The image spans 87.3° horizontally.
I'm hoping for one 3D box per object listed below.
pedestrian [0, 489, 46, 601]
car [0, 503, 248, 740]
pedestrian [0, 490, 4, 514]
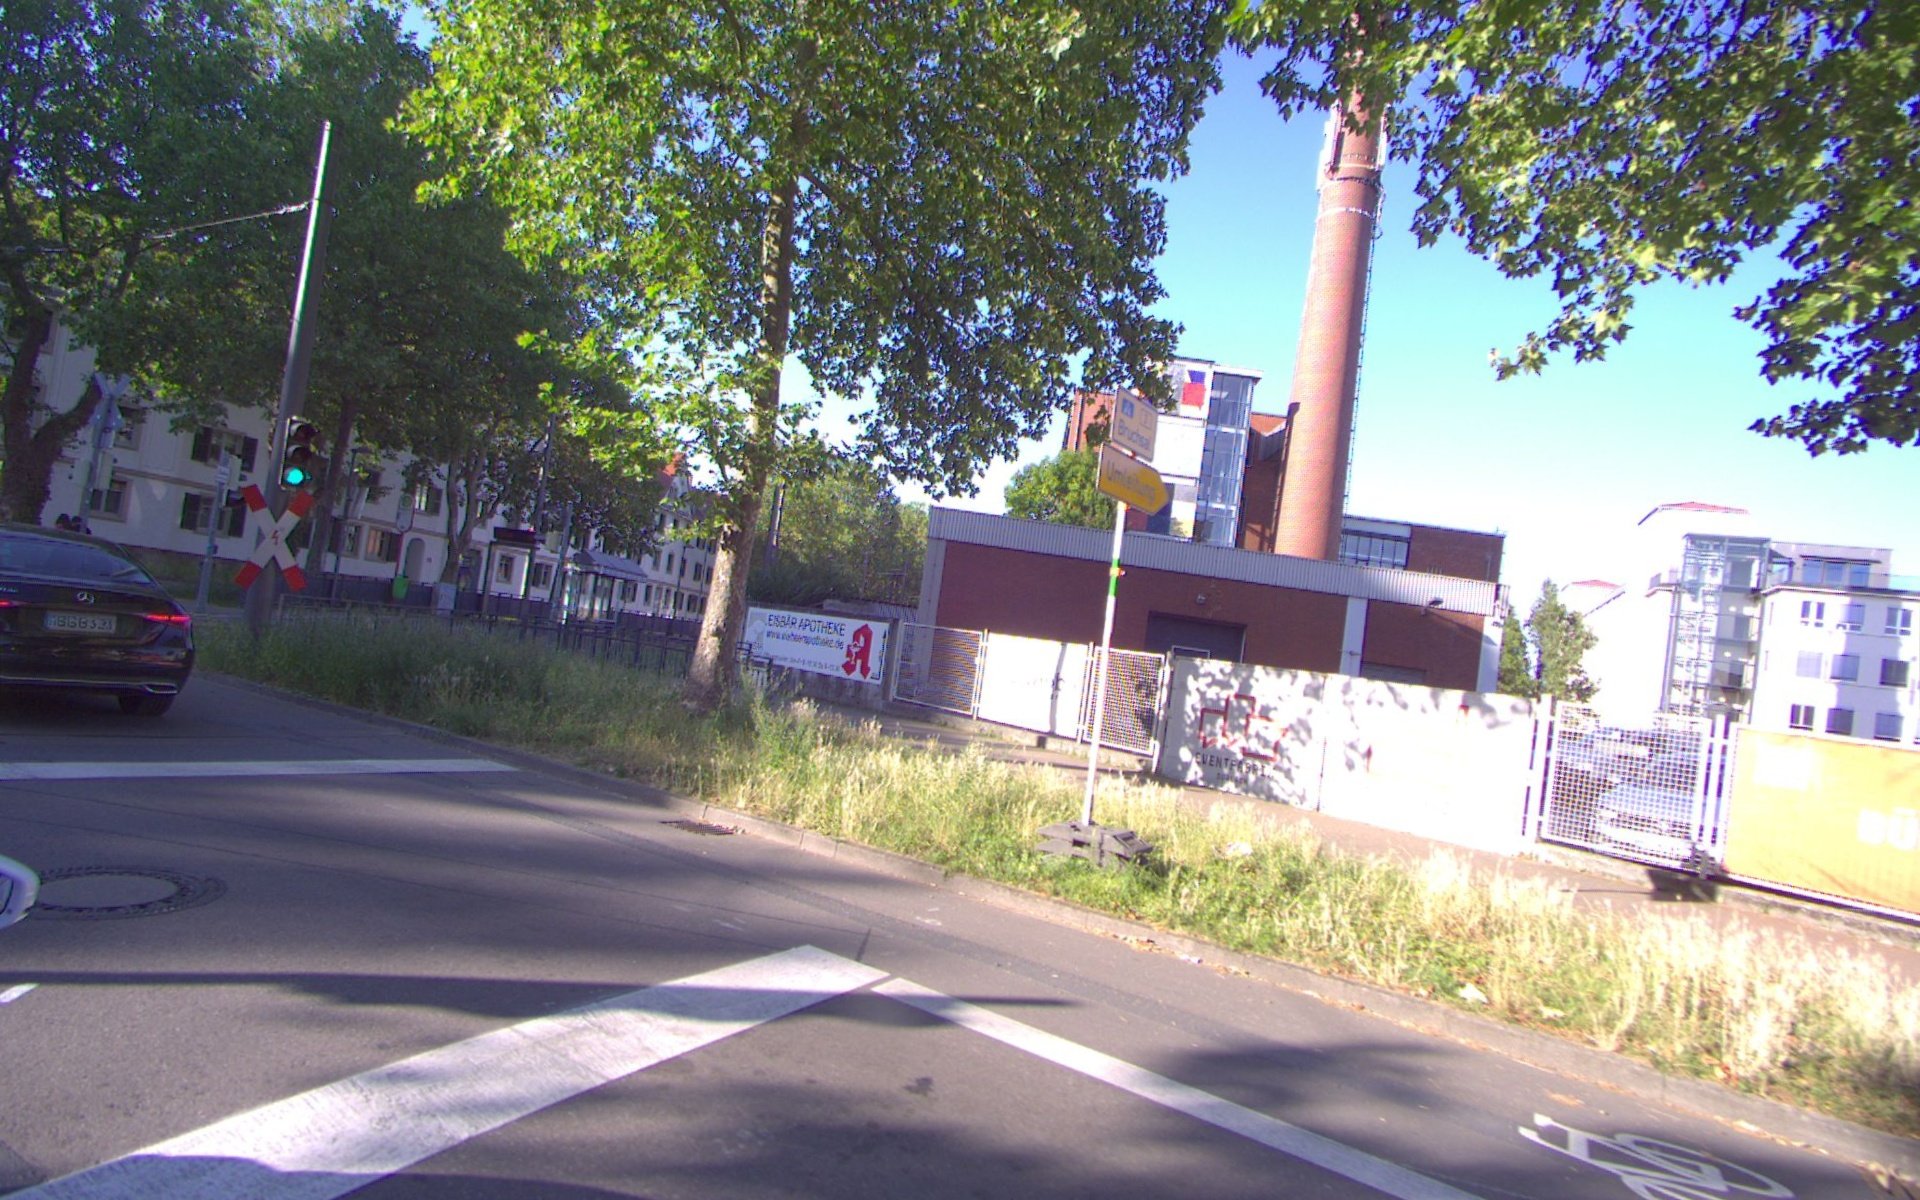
[{"bbox_3d":[-17.450,-1.016,18.386,0.695,1.938,0.685,6,-3,29],"label":"pedestrian"},{"bbox_3d":[-8.116,-0.016,8.443,4.309,1.507,1.894,8,-3,33],"label":"car"},{"bbox_3d":[-17.054,-0.998,17.111,0.672,1.938,0.708,6,-3,22],"label":"pedestrian"}]
